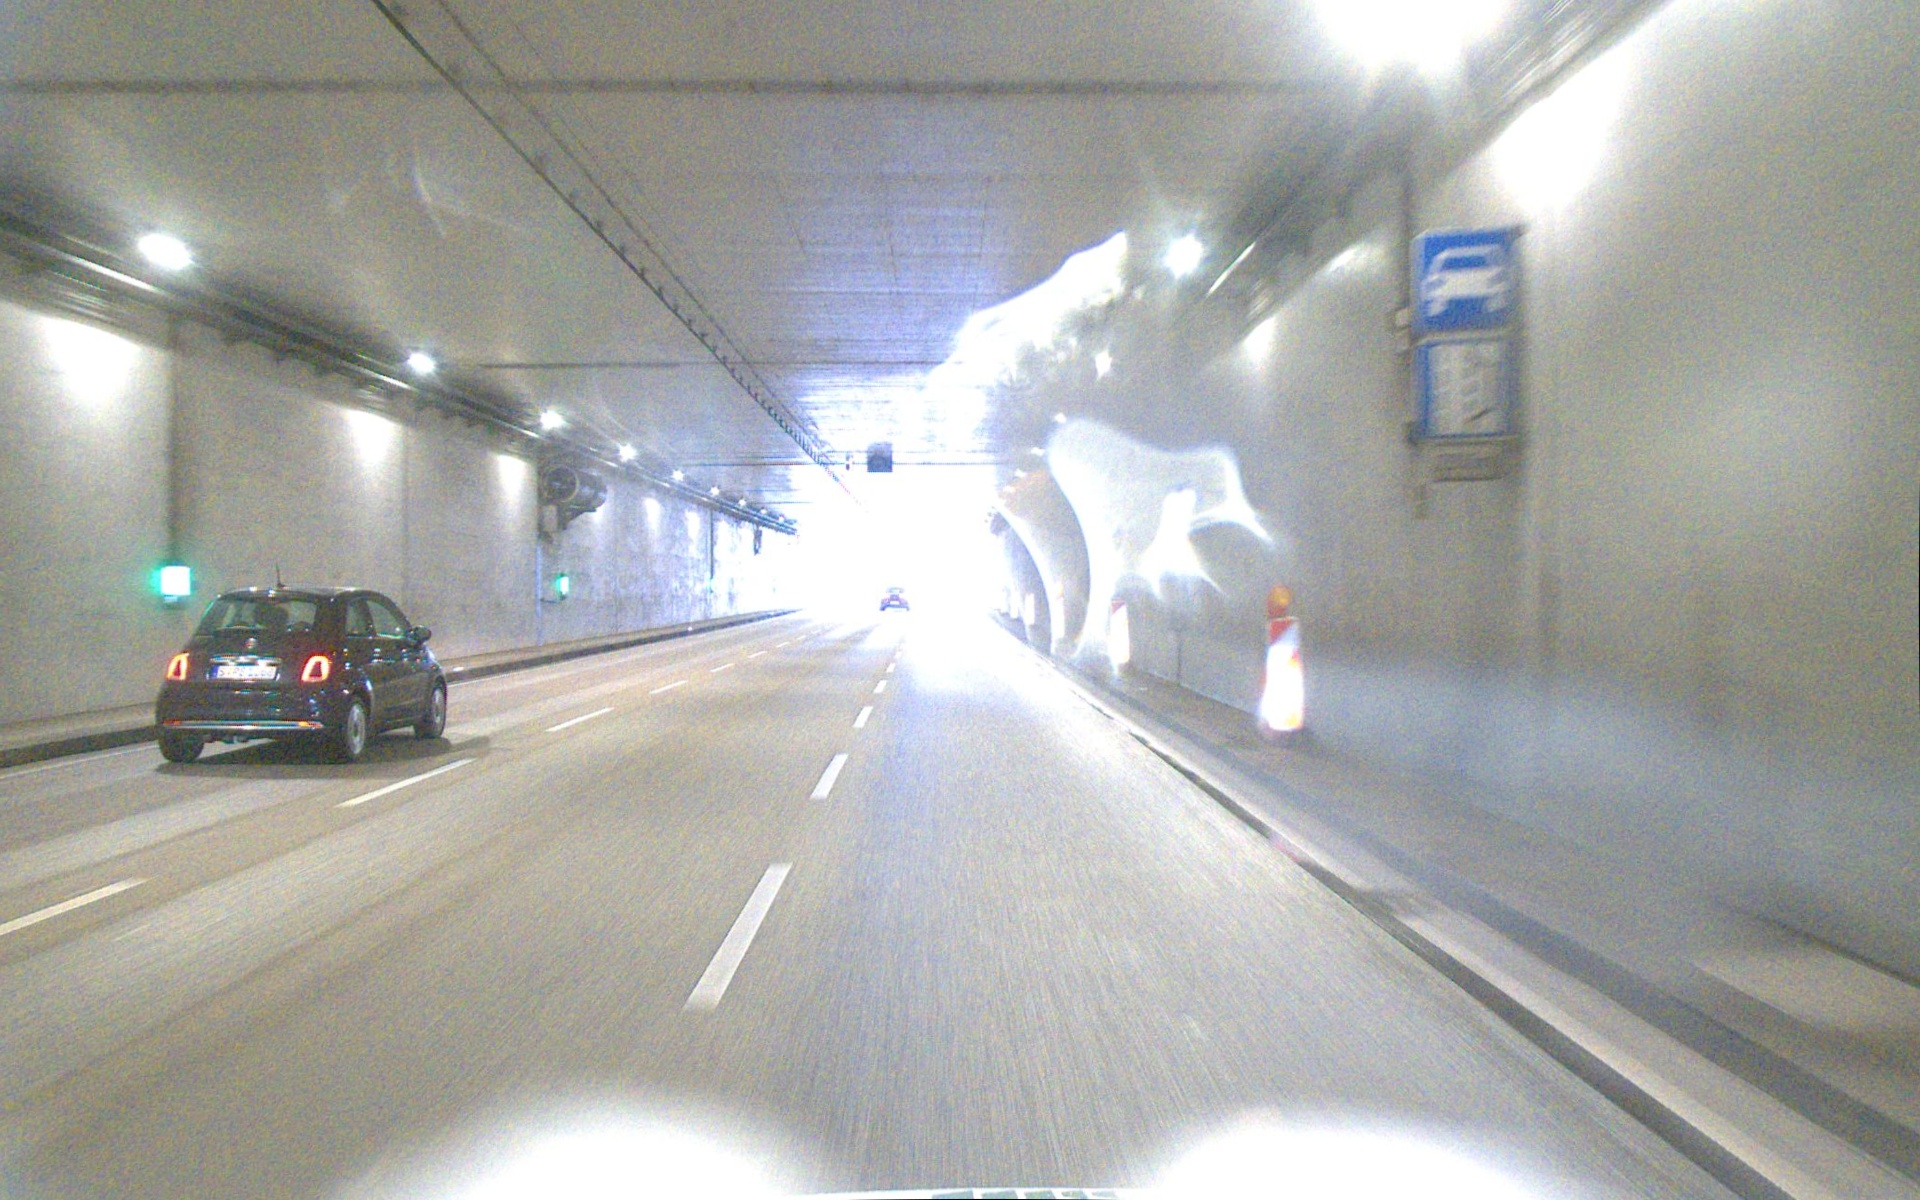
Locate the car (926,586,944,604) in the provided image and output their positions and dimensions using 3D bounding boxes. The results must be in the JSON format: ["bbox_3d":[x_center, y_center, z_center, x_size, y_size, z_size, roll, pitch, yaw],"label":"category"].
[{"bbox_3d":[-2.878,-0.549,188.438,1.953,2.049,3.999,-1,-1,-2],"label":"car"}]

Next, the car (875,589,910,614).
[{"bbox_3d":[-3.973,0.076,96.958,1.954,1.473,4.311,0,0,-4],"label":"car"}]

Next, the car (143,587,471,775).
[{"bbox_3d":[-5.759,0.637,15.033,1.579,1.480,3.572,-1,0,-1],"label":"car"}]

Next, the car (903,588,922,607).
[{"bbox_3d":[-5.212,-0.272,181.937,1.953,2.049,3.999,-1,-1,-2],"label":"car"}]

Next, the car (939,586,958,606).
[{"bbox_3d":[-1.162,-0.378,167.540,1.953,2.049,3.999,0,0,-1],"label":"car"}]
